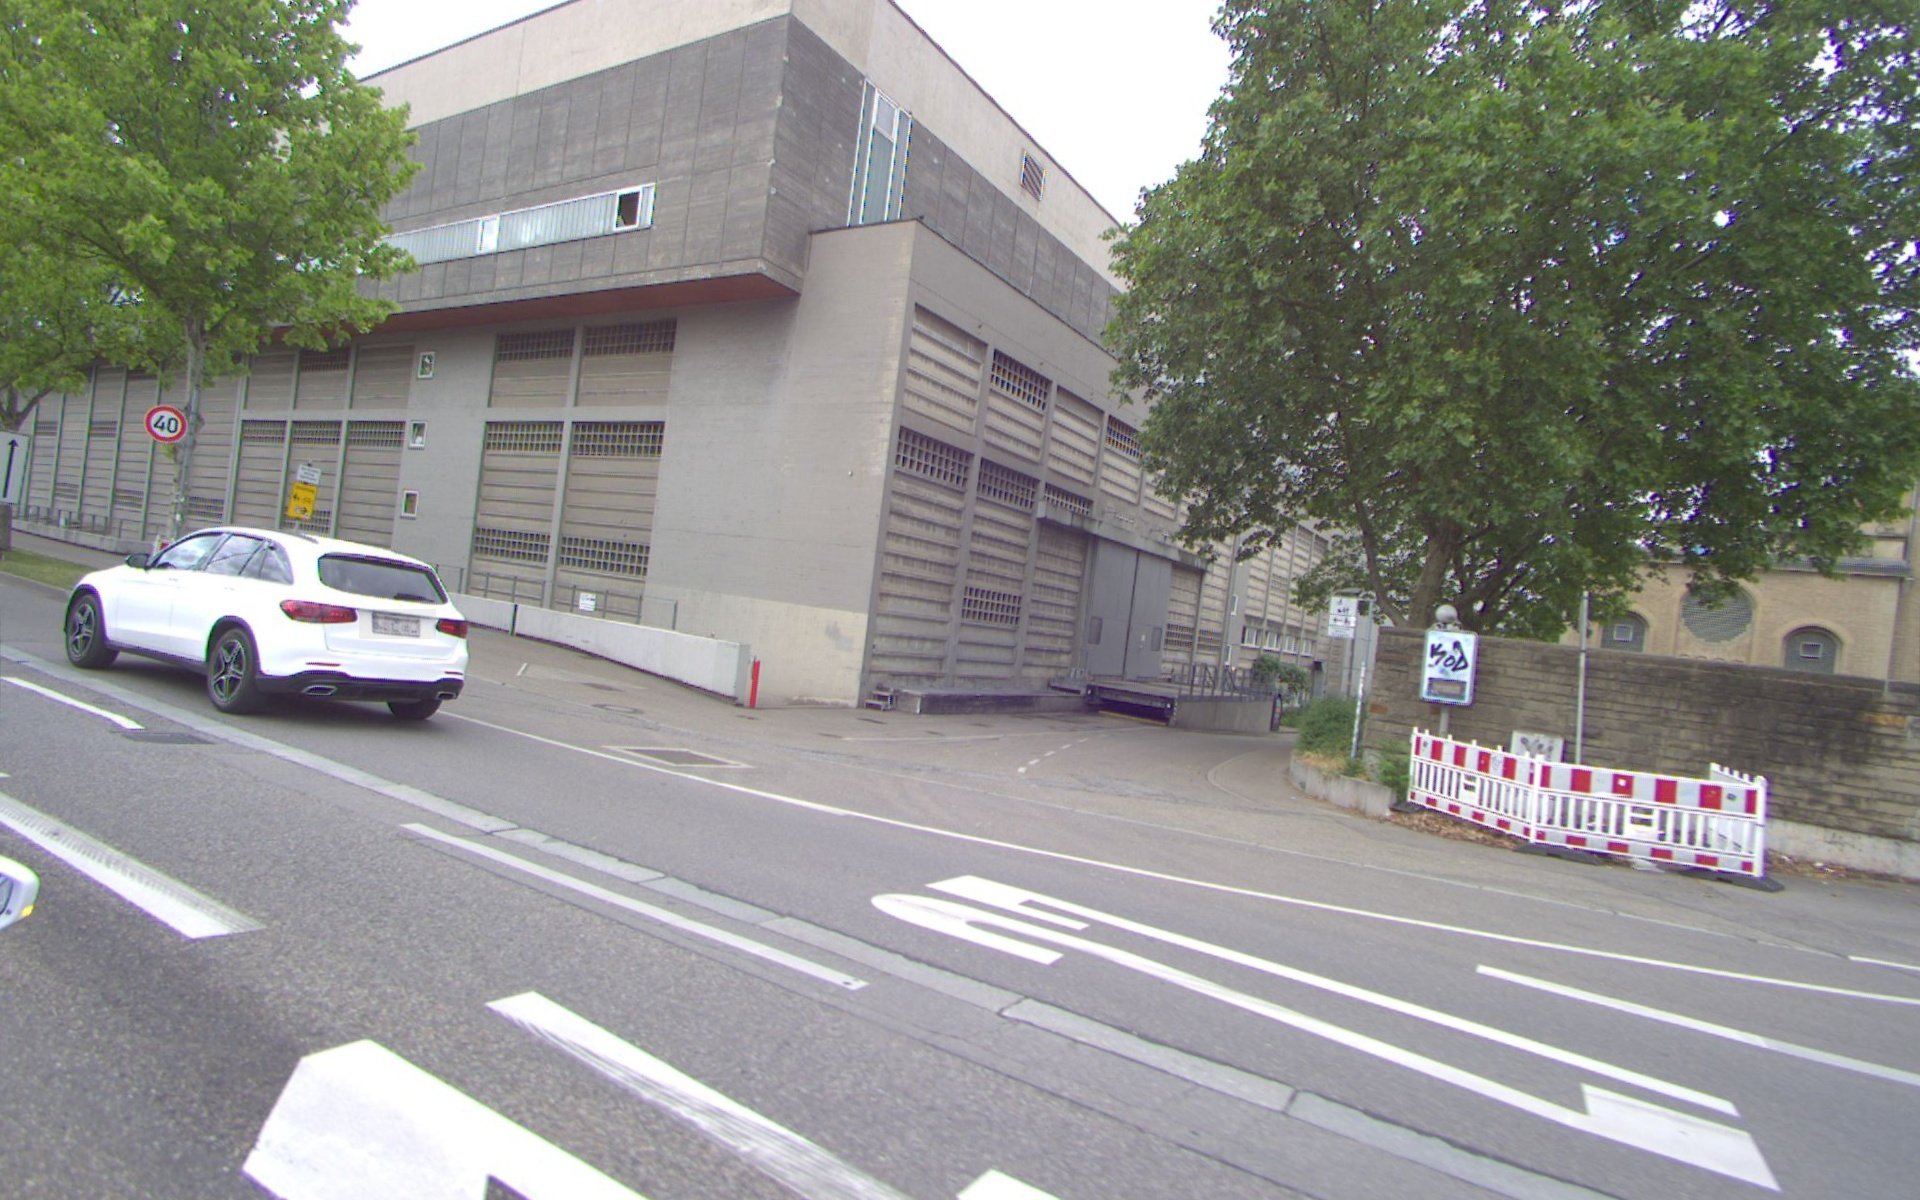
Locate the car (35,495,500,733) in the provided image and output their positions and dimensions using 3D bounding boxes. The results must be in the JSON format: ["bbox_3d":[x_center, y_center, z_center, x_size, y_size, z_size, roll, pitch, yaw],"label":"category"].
[{"bbox_3d":[-6.908,0.083,9.955,4.473,1.662,1.816,7,-1,28],"label":"car"}]
